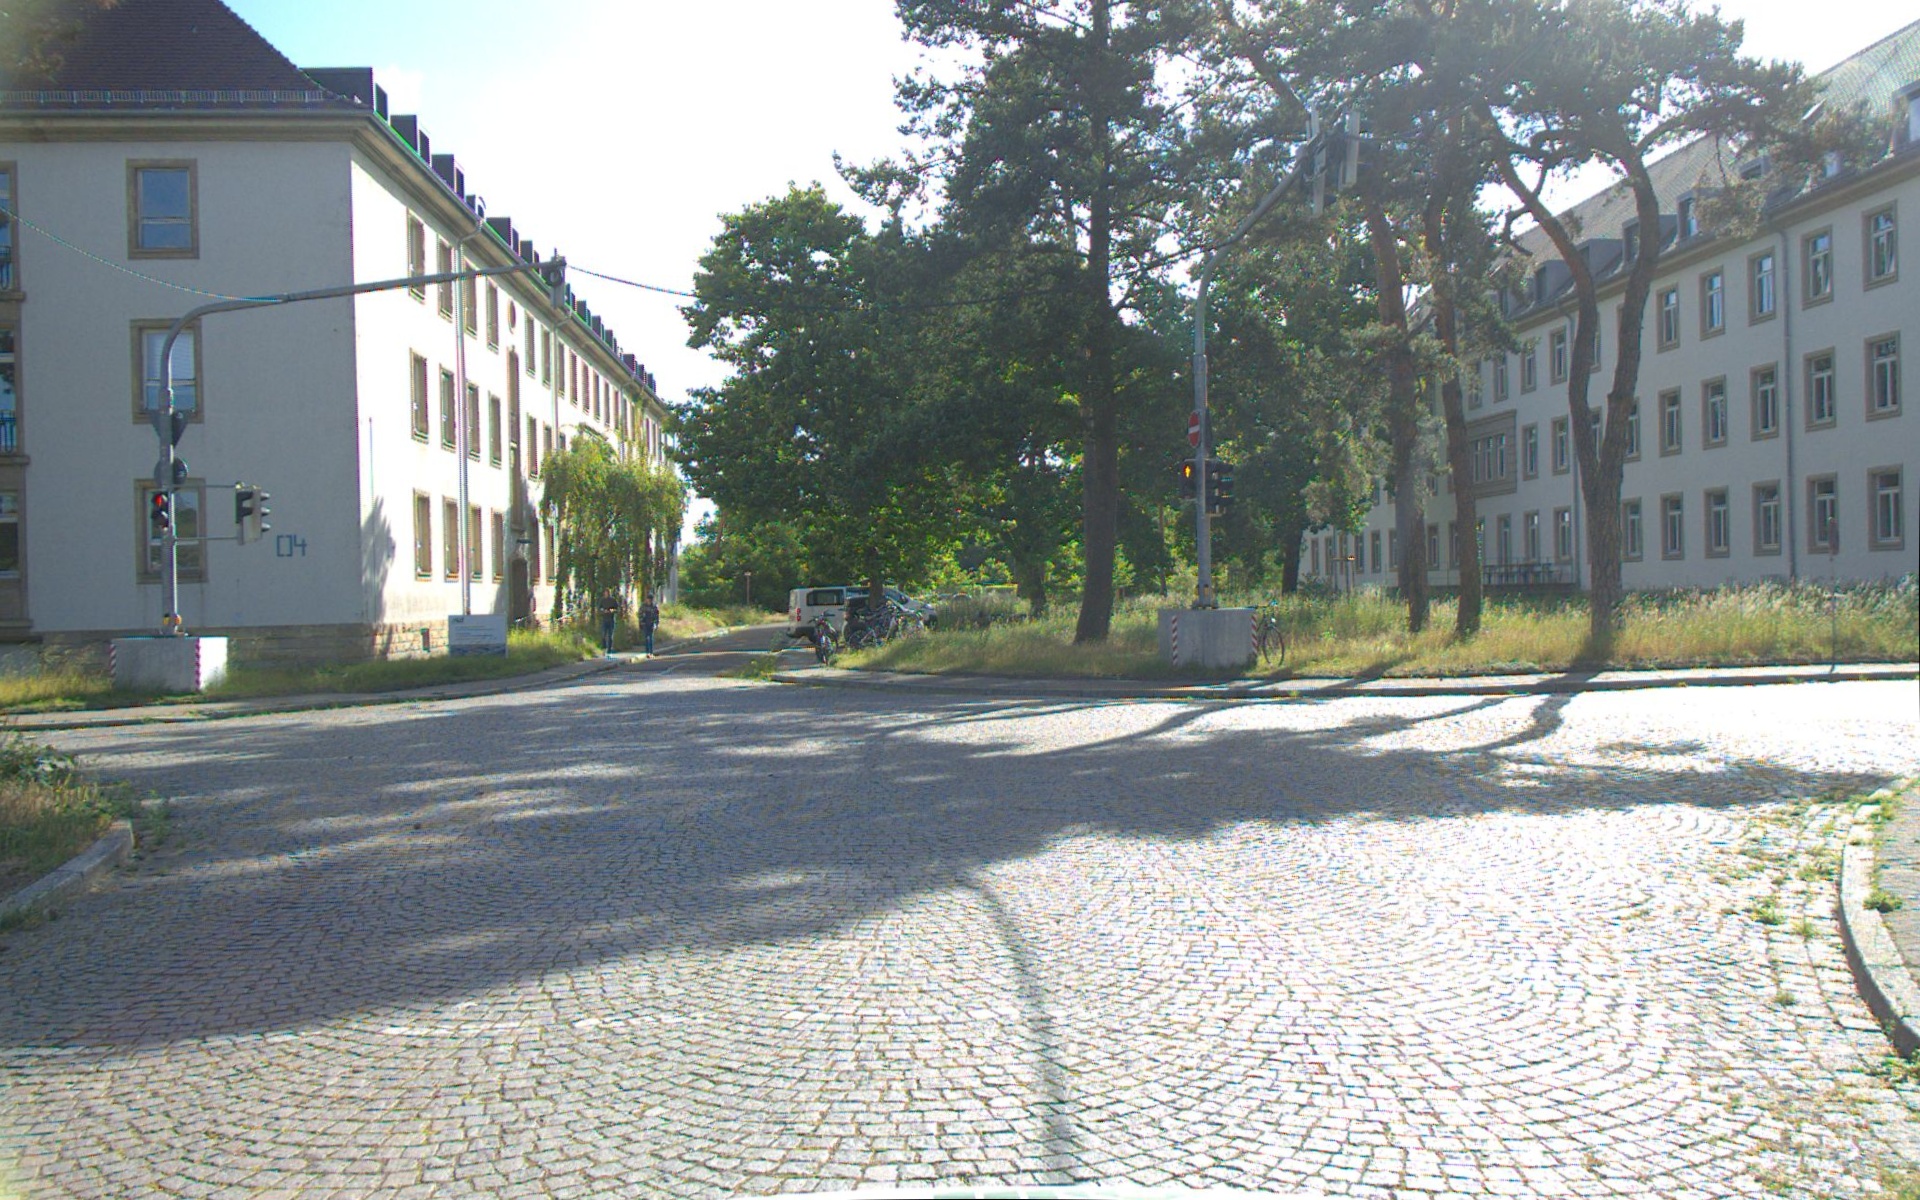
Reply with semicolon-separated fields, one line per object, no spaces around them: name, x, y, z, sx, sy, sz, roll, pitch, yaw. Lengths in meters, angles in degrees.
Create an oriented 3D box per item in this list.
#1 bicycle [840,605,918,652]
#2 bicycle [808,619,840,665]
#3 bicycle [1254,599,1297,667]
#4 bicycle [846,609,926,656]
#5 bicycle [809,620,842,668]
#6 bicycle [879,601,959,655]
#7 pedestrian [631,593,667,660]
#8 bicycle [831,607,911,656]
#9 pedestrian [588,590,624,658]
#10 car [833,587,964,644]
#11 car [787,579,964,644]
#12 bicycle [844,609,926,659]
bicycle;-2.068;0.728;42.289;1.905;1.149;0.646;-1;0;-9
bicycle;-3.089;0.934;37.554;0.682;0.988;1.858;-1;0;-6
bicycle;5.239;0.541;27.533;0.456;1.099;1.173;-1;0;0
bicycle;-1.754;0.775;39.198;1.819;1.049;0.749;-1;0;-7
bicycle;-2.905;0.933;35.635;0.682;0.988;1.858;-1;0;-6
bicycle;-1.011;0.683;40.749;1.904;1.257;0.484;-1;0;-7
pedestrian;-8.672;0.728;46.116;0.751;1.849;0.683;-1;0;7
bicycle;-2.214;0.779;41.181;1.921;1.149;0.641;-1;0;-31
pedestrian;-9.794;0.668;45.805;0.794;1.849;0.555;-1;0;7
car;-1.980;0.481;52.944;3.917;1.713;1.842;-1;0;-12
car;-2.956;0.380;57.297;5.824;2.049;2.469;-1;0;-11
bicycle;-1.818;0.819;39.991;1.904;1.149;0.749;-1;0;-7
